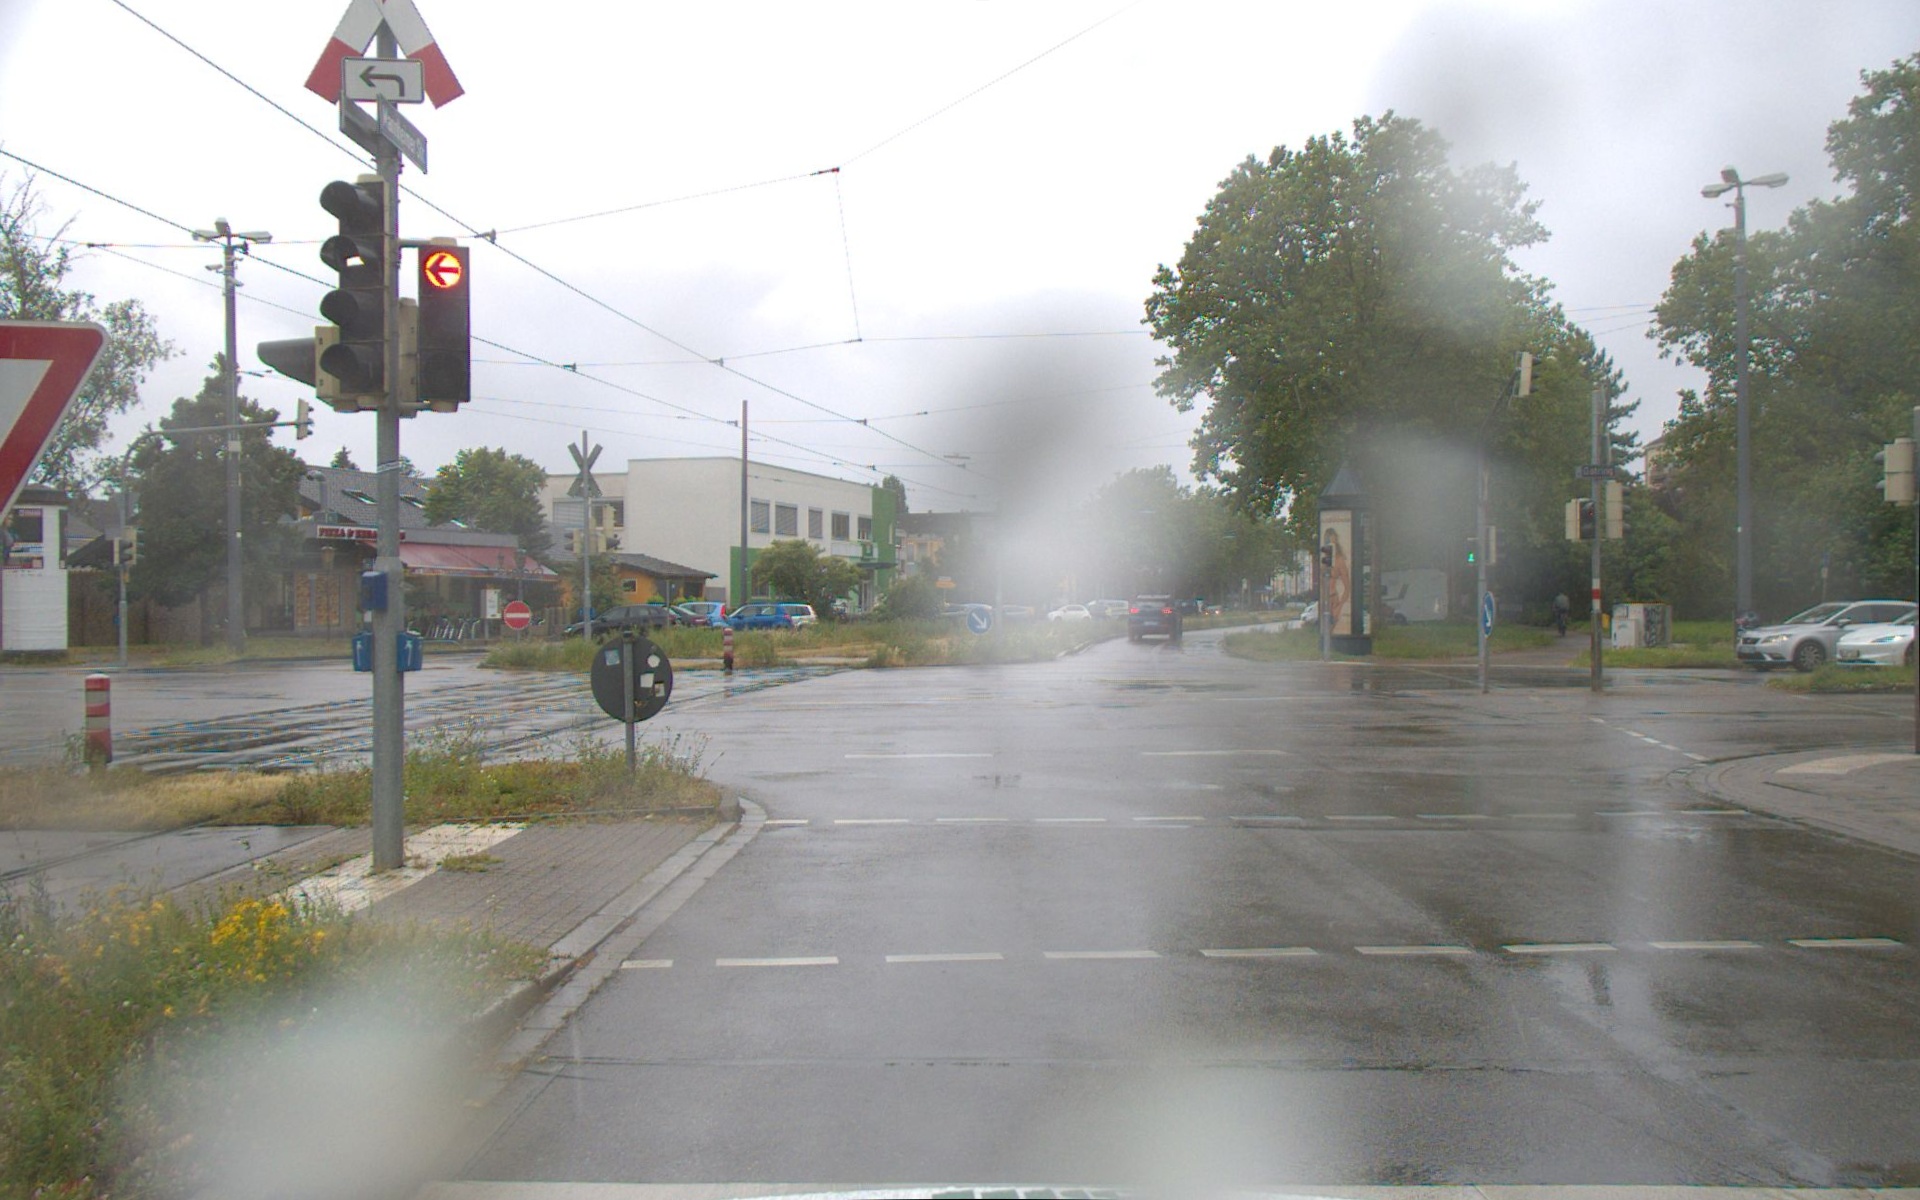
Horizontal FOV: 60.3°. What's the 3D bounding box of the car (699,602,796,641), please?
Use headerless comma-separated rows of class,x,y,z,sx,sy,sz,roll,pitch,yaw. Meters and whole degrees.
car,-8.954,0.881,69.636,3.916,1.609,1.924,0,0,-12

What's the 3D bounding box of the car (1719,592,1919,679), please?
car,18.466,0.735,34.622,4.309,1.721,1.931,1,0,-7

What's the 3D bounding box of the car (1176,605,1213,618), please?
car,25.727,1.269,181.718,3.806,1.378,1.762,1,0,2

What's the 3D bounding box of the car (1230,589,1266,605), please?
car,35.506,-0.320,203.966,3.909,1.864,1.998,1,0,-5

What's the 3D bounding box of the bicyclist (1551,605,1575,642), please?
bicyclist,24.019,0.921,65.845,0.843,1.450,0.957,1,-1,18

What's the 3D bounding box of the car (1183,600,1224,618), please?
car,25.635,0.953,174.304,3.909,1.864,1.998,1,0,-5

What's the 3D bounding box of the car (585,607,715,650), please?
car,-11.418,1.032,61.160,4.405,1.443,1.858,-2,0,0

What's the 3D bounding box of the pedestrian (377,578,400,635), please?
pedestrian,-20.882,0.249,60.410,0.713,2.049,0.789,1,-1,-23

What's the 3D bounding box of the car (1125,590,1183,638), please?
car,7.357,0.521,62.553,1.767,1.716,3.914,1,0,12

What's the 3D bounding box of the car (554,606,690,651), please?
car,-11.977,0.999,58.797,4.385,1.443,1.858,-2,0,0

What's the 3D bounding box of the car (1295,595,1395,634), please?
car,18.134,0.663,77.887,4.352,1.747,2.000,1,0,21

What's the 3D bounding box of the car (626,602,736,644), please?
car,-10.884,0.889,64.611,3.903,1.609,1.859,0,0,4

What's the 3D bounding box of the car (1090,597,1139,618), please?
car,13.529,0.658,145.084,3.916,1.789,2.004,1,0,-12

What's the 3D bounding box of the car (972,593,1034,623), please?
car,2.846,0.506,110.037,3.911,1.920,1.997,1,0,-7

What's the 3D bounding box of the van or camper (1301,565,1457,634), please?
van or camper,20.507,-0.038,80.850,7.168,3.234,3.264,1,0,17

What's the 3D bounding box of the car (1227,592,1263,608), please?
car,34.297,-0.022,199.212,3.909,1.864,1.998,1,0,-5

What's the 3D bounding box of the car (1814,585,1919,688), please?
car,18.874,0.707,31.309,4.506,1.860,1.931,1,0,-7

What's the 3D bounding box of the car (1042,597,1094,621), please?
car,8.271,0.694,126.889,3.706,1.732,1.832,1,0,-11

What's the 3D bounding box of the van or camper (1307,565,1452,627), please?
van or camper,22.849,-0.209,90.043,7.274,3.234,3.262,1,0,22

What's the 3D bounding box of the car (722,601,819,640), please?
car,-8.357,0.881,72.778,4.040,1.670,1.922,0,0,-15

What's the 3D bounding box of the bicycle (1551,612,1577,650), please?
bicycle,23.912,1.217,65.502,0.843,1.450,2.705,1,0,17
